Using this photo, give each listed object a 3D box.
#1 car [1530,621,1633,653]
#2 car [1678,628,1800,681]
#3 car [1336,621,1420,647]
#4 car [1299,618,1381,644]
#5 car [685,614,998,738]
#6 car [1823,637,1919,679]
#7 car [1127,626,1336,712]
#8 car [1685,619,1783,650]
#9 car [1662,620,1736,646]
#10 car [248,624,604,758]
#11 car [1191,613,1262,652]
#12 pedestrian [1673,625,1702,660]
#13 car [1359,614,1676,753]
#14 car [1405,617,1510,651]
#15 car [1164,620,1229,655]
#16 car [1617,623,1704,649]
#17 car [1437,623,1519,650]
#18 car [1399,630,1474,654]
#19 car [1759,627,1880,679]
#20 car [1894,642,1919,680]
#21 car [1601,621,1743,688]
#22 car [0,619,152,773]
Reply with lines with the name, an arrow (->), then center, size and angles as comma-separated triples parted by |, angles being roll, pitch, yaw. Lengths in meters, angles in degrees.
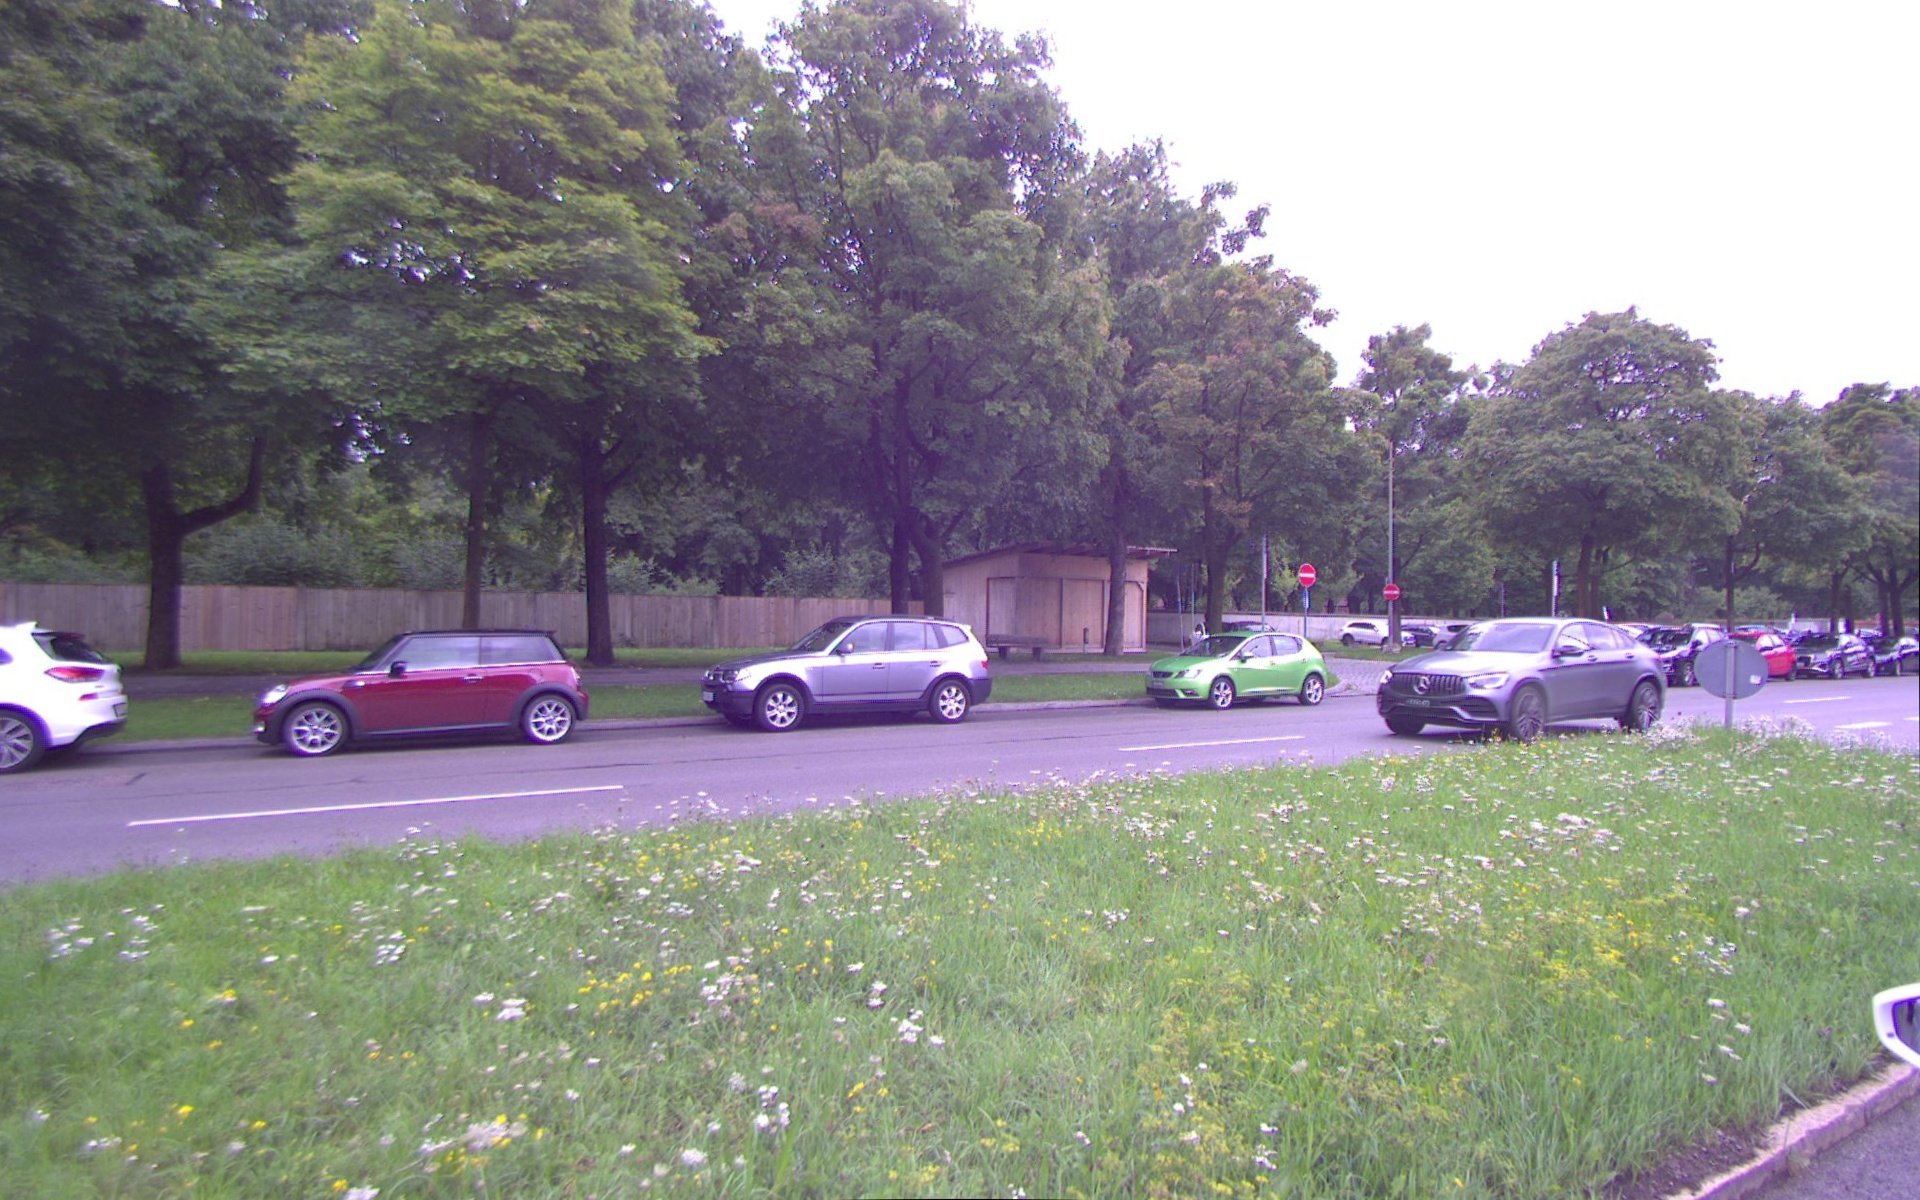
car -> 31.121, 1.818, 50.414 | 1.980, 1.461, 3.960 | 1, -1, -35
car -> 24.201, 1.692, 31.199 | 3.768, 1.499, 1.812 | 3, -1, -32
car -> 25.266, 2.019, 60.846 | 1.975, 1.461, 4.487 | 1, -1, -28
car -> 22.751, 1.827, 60.309 | 1.974, 1.461, 4.490 | 1, -1, -26
car -> -1.744, 1.072, 15.305 | 4.405, 1.652, 1.812 | 1, -2, -31
car -> 33.243, 2.074, 36.311 | 3.951, 1.428, 1.814 | 1, -3, -29
car -> 5.319, 1.289, 19.562 | 3.952, 1.519, 1.633 | 1, -2, -30
car -> 42.965, 1.894, 55.860 | 1.792, 1.591, 3.971 | 1, -1, -28
car -> 60.836, 2.684, 82.728 | 1.977, 2.061, 4.483 | 1, -1, -30
car -> -6.455, 1.049, 12.424 | 3.643, 1.440, 1.642 | 1, -3, -30
car -> 10.562, 1.263, 40.047 | 1.822, 1.428, 3.859 | 1, -1, 0
pedestrian -> 32.032, 1.867, 44.239 | 0.846, 1.515, 0.791 | 1, -1, -30
car -> 7.666, 1.019, 13.713 | 4.449, 1.610, 1.812 | 1, 0, -31
car -> 23.212, 1.574, 46.979 | 1.980, 1.461, 3.960 | 1, -1, -35
car -> 10.350, 1.612, 44.299 | 1.822, 1.428, 4.469 | 1, -1, 0
car -> 43.015, 2.201, 61.765 | 1.980, 1.461, 3.960 | 1, -1, -35
car -> 34.466, 2.427, 66.945 | 1.977, 1.647, 4.483 | 1, -1, -30
car -> 29.679, 2.579, 62.642 | 1.852, 1.391, 3.975 | 1, -1, -25
car -> 28.746, 1.755, 33.578 | 4.063, 1.620, 1.813 | 1, -1, -29
car -> 38.587, 2.387, 39.576 | 3.960, 1.466, 1.810 | 1, -2, -35
car -> 20.162, 1.537, 28.398 | 4.193, 1.722, 1.812 | 3, -1, -32
car -> -10.837, 0.951, 9.890 | 4.209, 1.496, 1.813 | 1, -3, -30
